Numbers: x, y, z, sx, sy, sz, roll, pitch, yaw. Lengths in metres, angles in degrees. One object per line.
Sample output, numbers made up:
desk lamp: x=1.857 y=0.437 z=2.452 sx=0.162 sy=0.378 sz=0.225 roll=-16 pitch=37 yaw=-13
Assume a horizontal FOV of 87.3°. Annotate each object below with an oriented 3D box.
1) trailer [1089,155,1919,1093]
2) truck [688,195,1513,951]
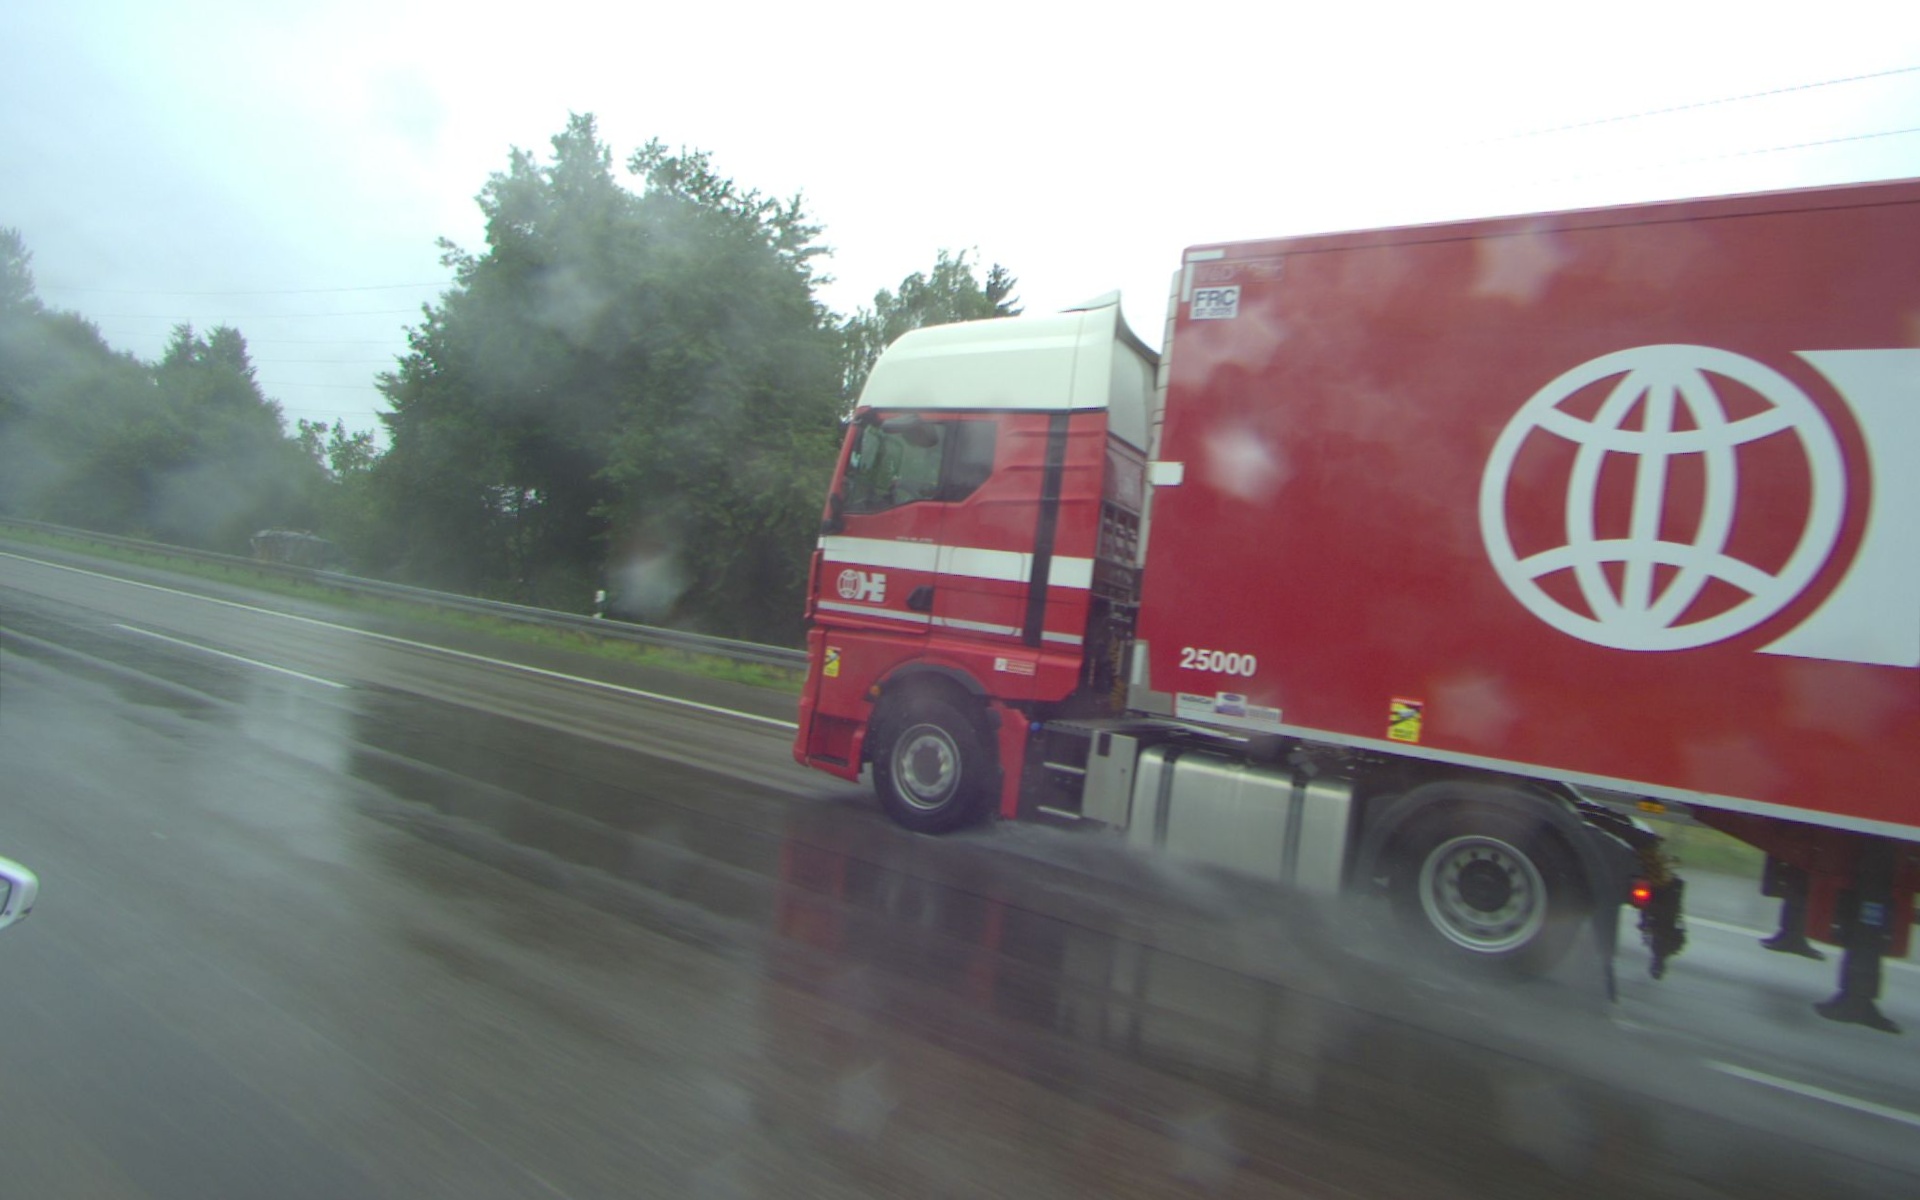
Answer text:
trailer: x=7.361 y=0.476 z=3.794 sx=13.405 sy=4.002 sz=2.624 roll=7 pitch=-1 yaw=32
truck: x=0.977 y=-0.278 z=7.826 sx=5.343 sy=4.002 sz=2.624 roll=7 pitch=-1 yaw=32
